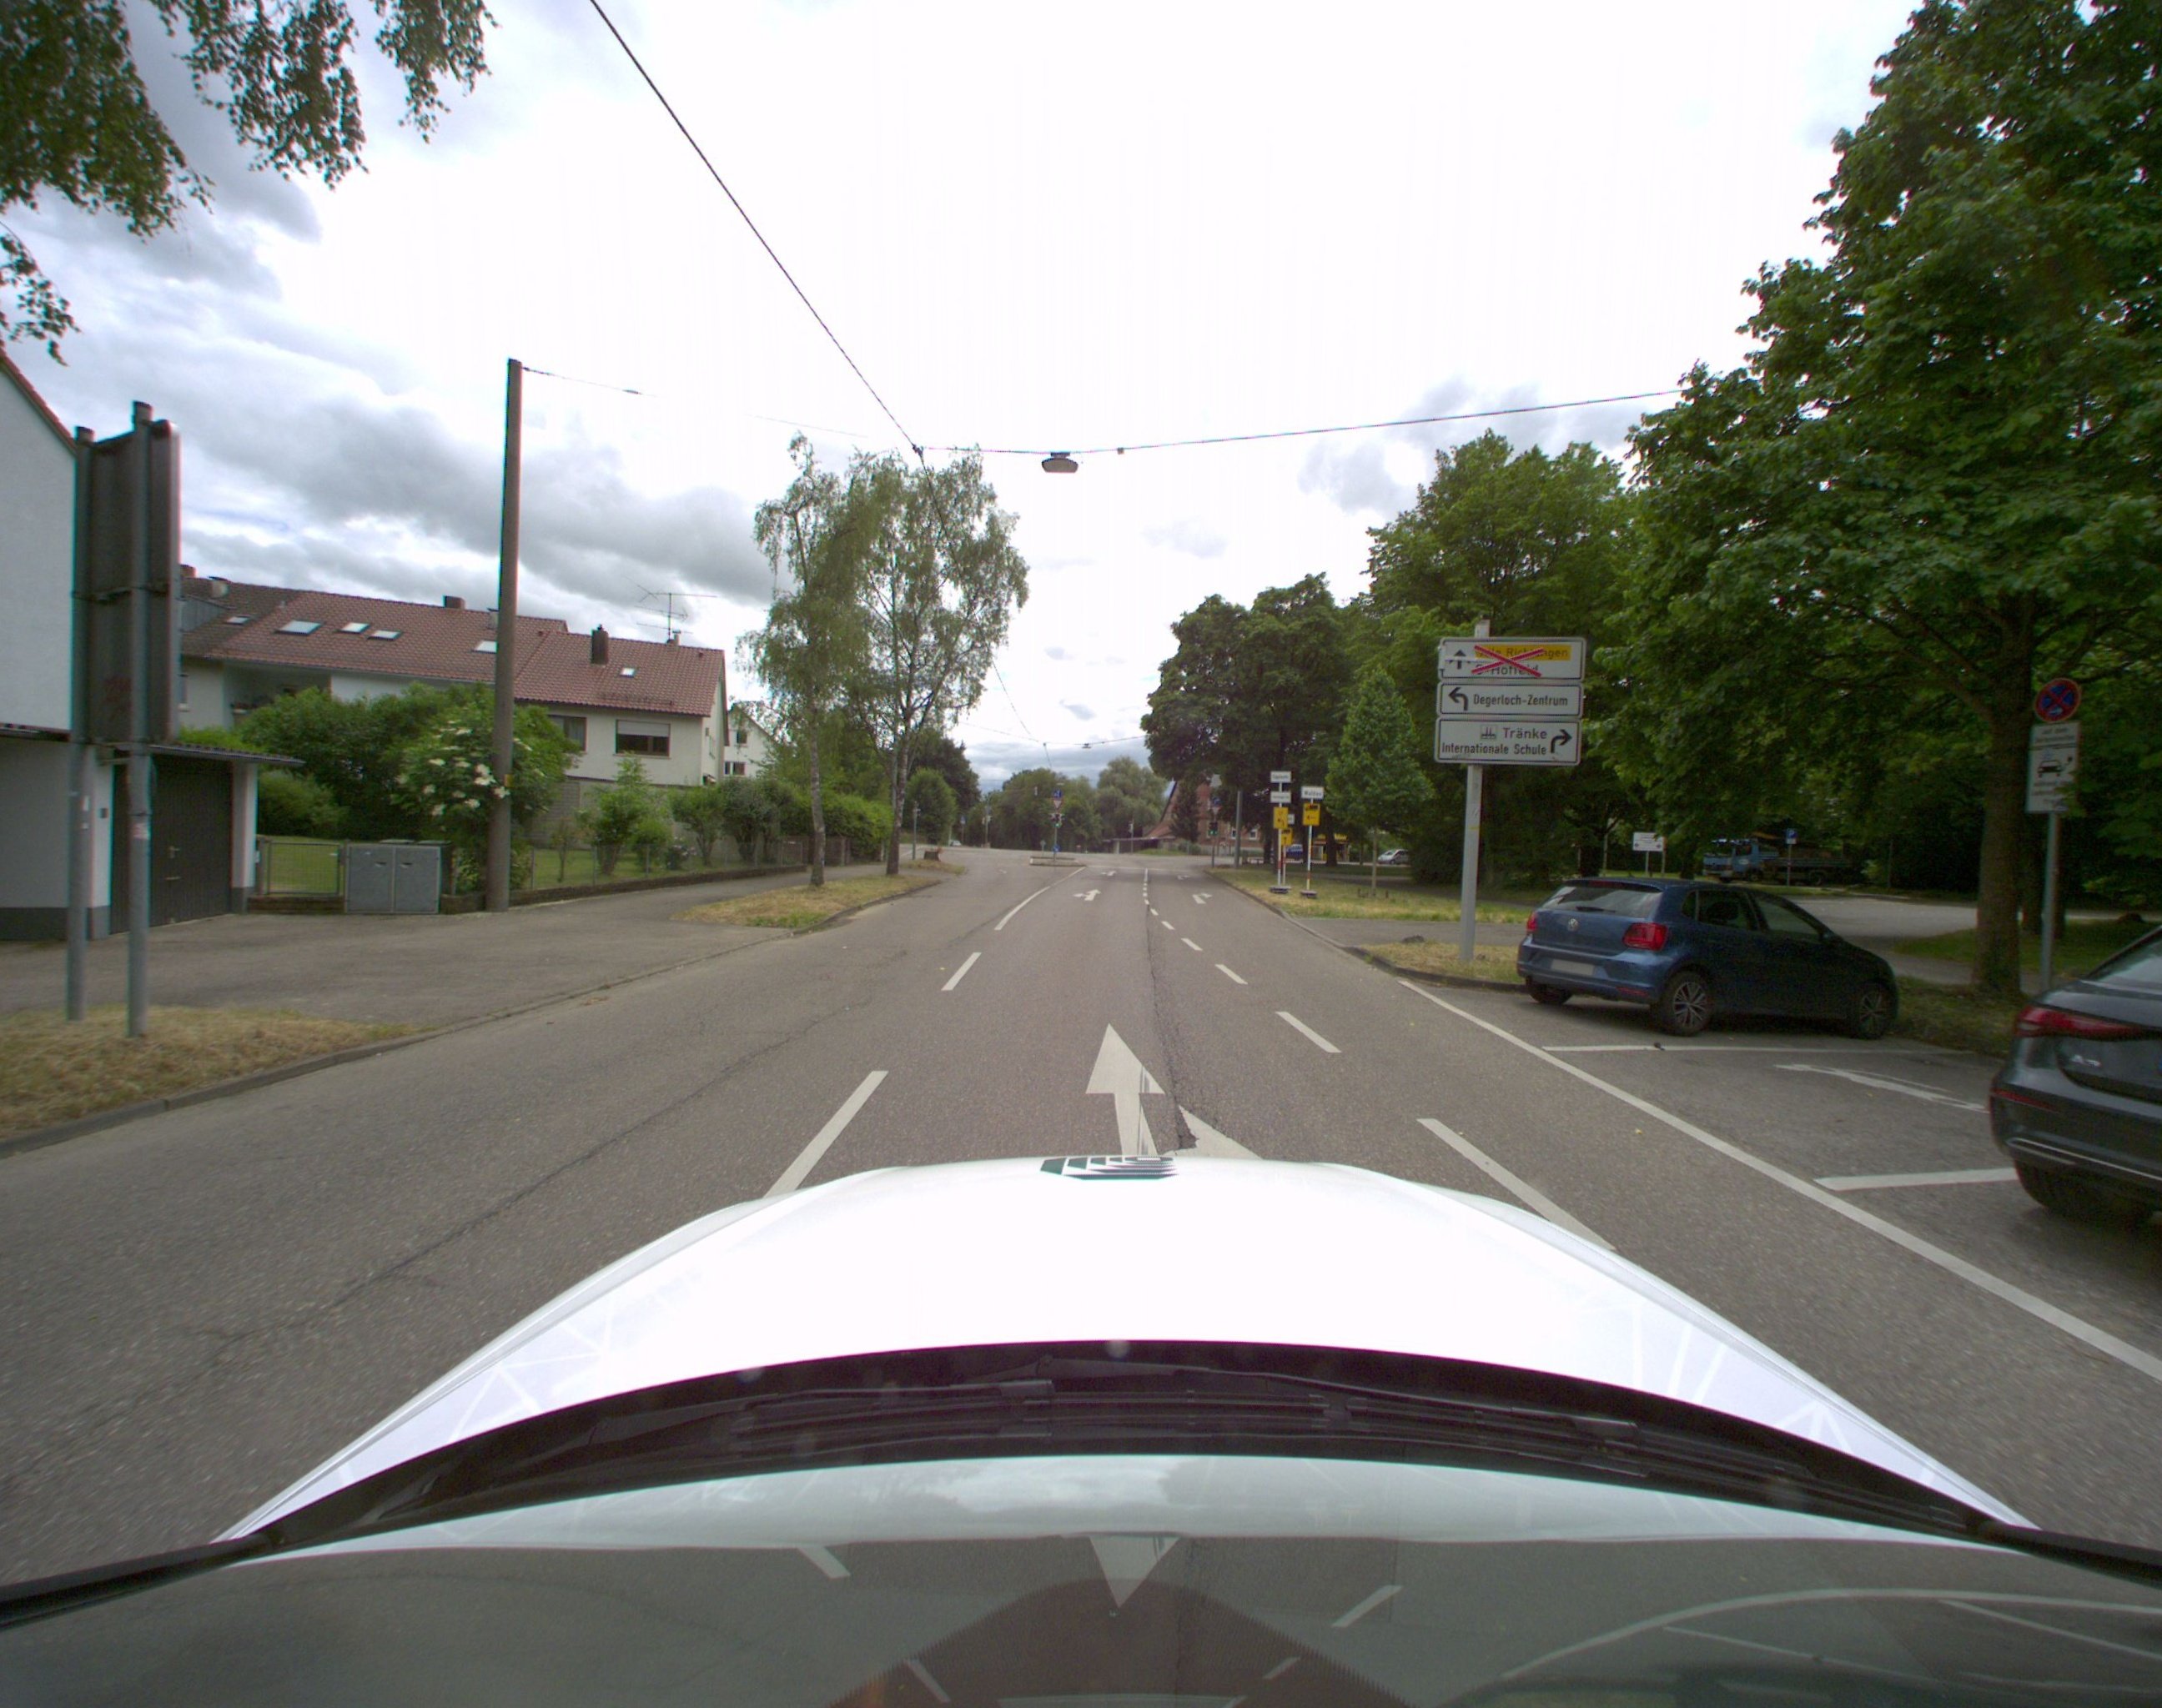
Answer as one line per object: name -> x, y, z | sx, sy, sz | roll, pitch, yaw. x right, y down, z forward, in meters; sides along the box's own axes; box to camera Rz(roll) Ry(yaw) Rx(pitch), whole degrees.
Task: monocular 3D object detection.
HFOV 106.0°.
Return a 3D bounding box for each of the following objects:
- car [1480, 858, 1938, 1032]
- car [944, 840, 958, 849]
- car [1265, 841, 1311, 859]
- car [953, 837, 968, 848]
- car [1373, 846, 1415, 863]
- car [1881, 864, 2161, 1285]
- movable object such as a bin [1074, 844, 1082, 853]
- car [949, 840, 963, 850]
car -> 6.417, 0.902, 8.451 | 3.824, 1.425, 1.738 | 5, -1, -14
car -> -21.297, -1.527, 133.299 | 1.797, 1.409, 3.980 | 1, 1, -15
car -> 20.315, -0.354, 79.902 | 3.852, 1.647, 1.990 | 1, 1, -16
car -> -18.014, -1.682, 121.527 | 1.797, 1.512, 3.980 | 1, 1, -15
car -> 31.277, 0.071, 81.333 | 3.474, 1.530, 1.986 | 1, 1, -22
car -> 5.638, 0.906, 3.080 | 3.874, 1.426, 1.823 | 4, -1, -11
movable object such as a bin -> -0.347, -0.608, 94.259 | 0.635, 1.001, 0.579 | 2, -1, -24
car -> -19.665, -1.417, 127.774 | 1.797, 1.409, 3.980 | 1, 1, -15
